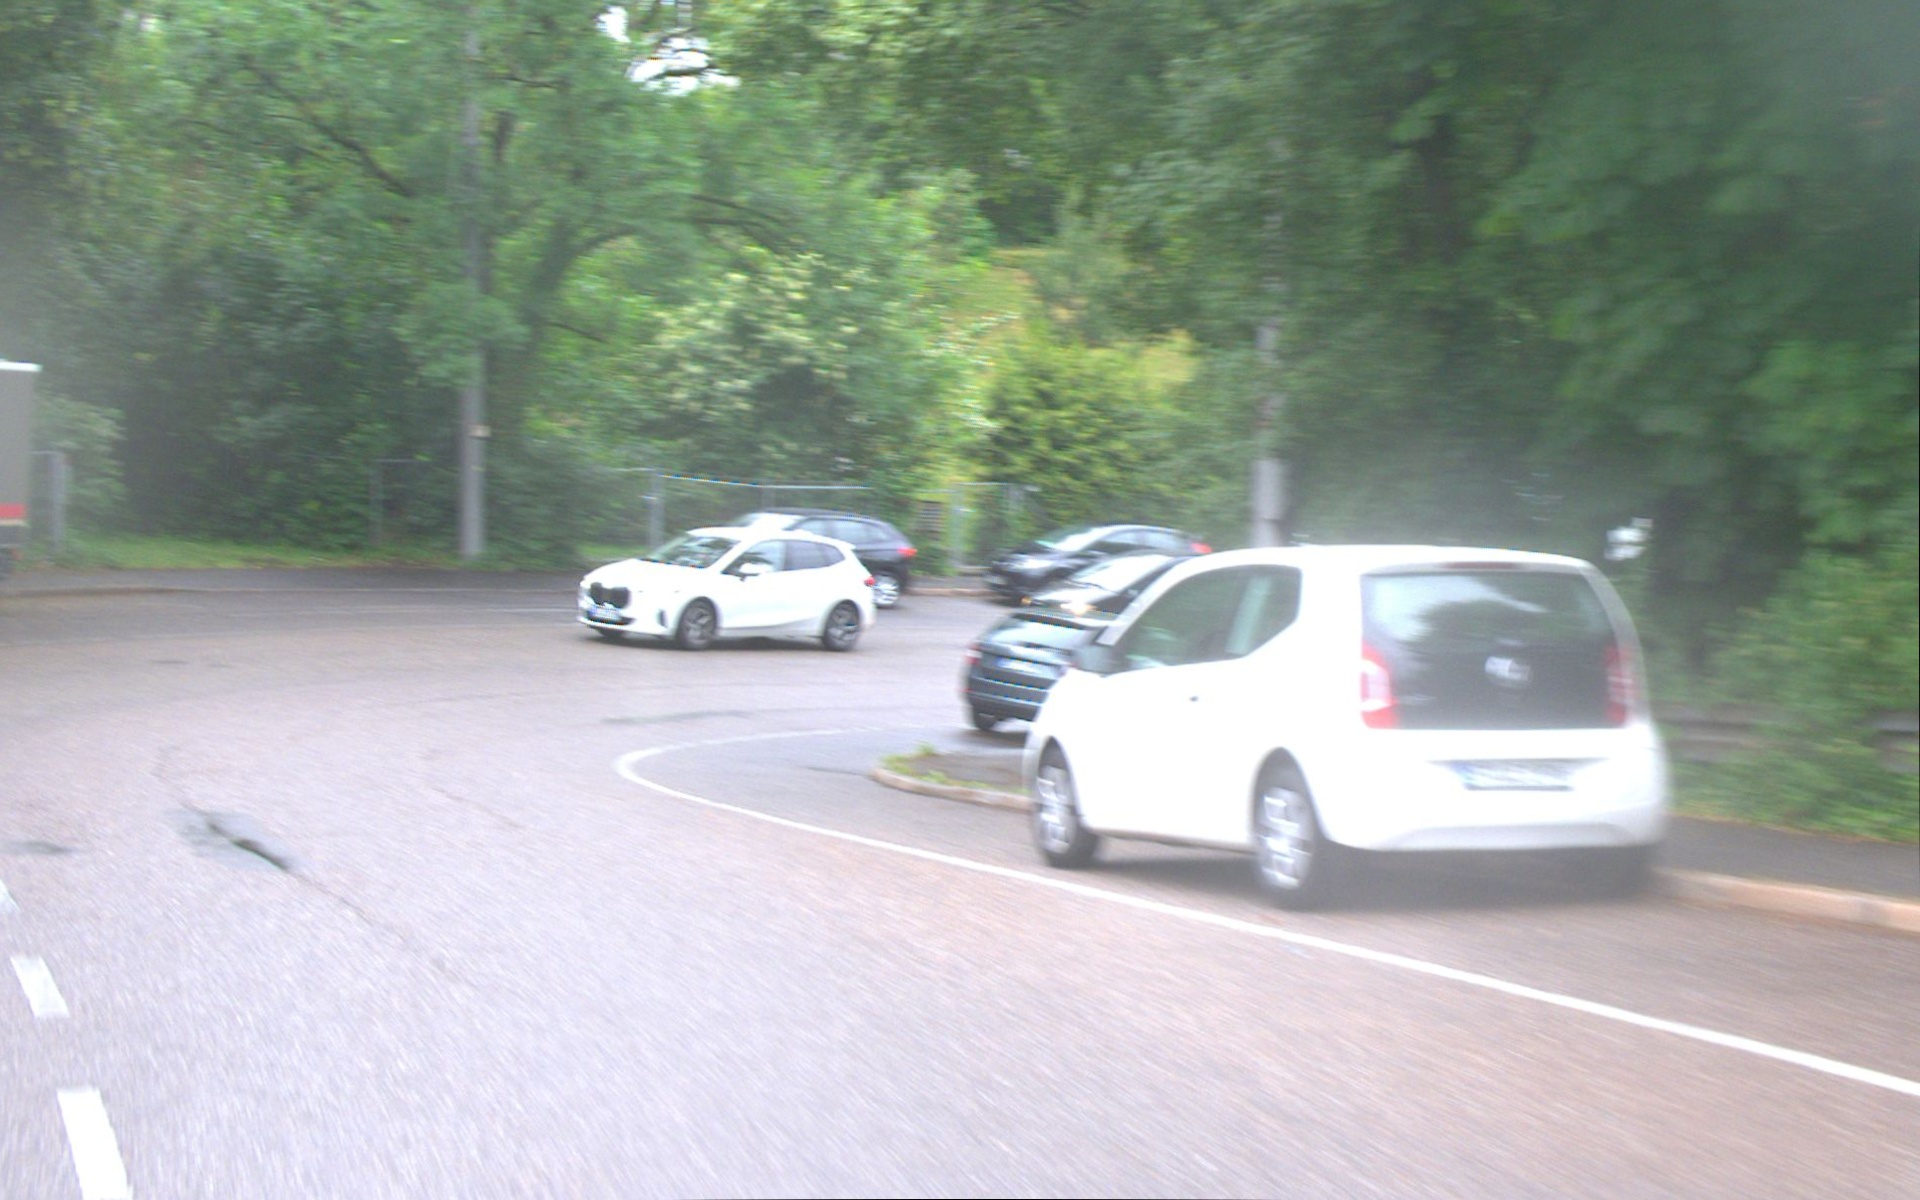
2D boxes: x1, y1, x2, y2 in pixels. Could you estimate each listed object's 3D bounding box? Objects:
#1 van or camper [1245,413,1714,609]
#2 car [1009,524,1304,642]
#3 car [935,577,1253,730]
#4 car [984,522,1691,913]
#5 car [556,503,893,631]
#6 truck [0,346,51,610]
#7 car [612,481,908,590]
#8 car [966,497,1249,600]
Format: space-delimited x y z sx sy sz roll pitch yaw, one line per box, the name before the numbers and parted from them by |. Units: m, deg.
van or camper | 9.042 -1.552 59.950 7.634 2.921 2.203 2 6 -14
car | 2.967 -0.248 51.619 4.072 1.513 1.766 2 3 -33
car | 1.566 0.580 38.801 1.652 1.459 4.025 8 4 32
car | 1.515 0.443 15.143 1.584 1.496 3.668 1 0 -21
car | -3.132 -0.430 46.413 1.803 1.564 4.444 5 2 43
truck | -12.935 -1.451 38.302 2.035 3.092 6.608 5 3 17
car | -3.107 -0.999 53.870 4.300 1.460 1.784 0 7 -39
car | 2.460 -0.855 57.497 4.297 1.351 1.760 2 6 -24
